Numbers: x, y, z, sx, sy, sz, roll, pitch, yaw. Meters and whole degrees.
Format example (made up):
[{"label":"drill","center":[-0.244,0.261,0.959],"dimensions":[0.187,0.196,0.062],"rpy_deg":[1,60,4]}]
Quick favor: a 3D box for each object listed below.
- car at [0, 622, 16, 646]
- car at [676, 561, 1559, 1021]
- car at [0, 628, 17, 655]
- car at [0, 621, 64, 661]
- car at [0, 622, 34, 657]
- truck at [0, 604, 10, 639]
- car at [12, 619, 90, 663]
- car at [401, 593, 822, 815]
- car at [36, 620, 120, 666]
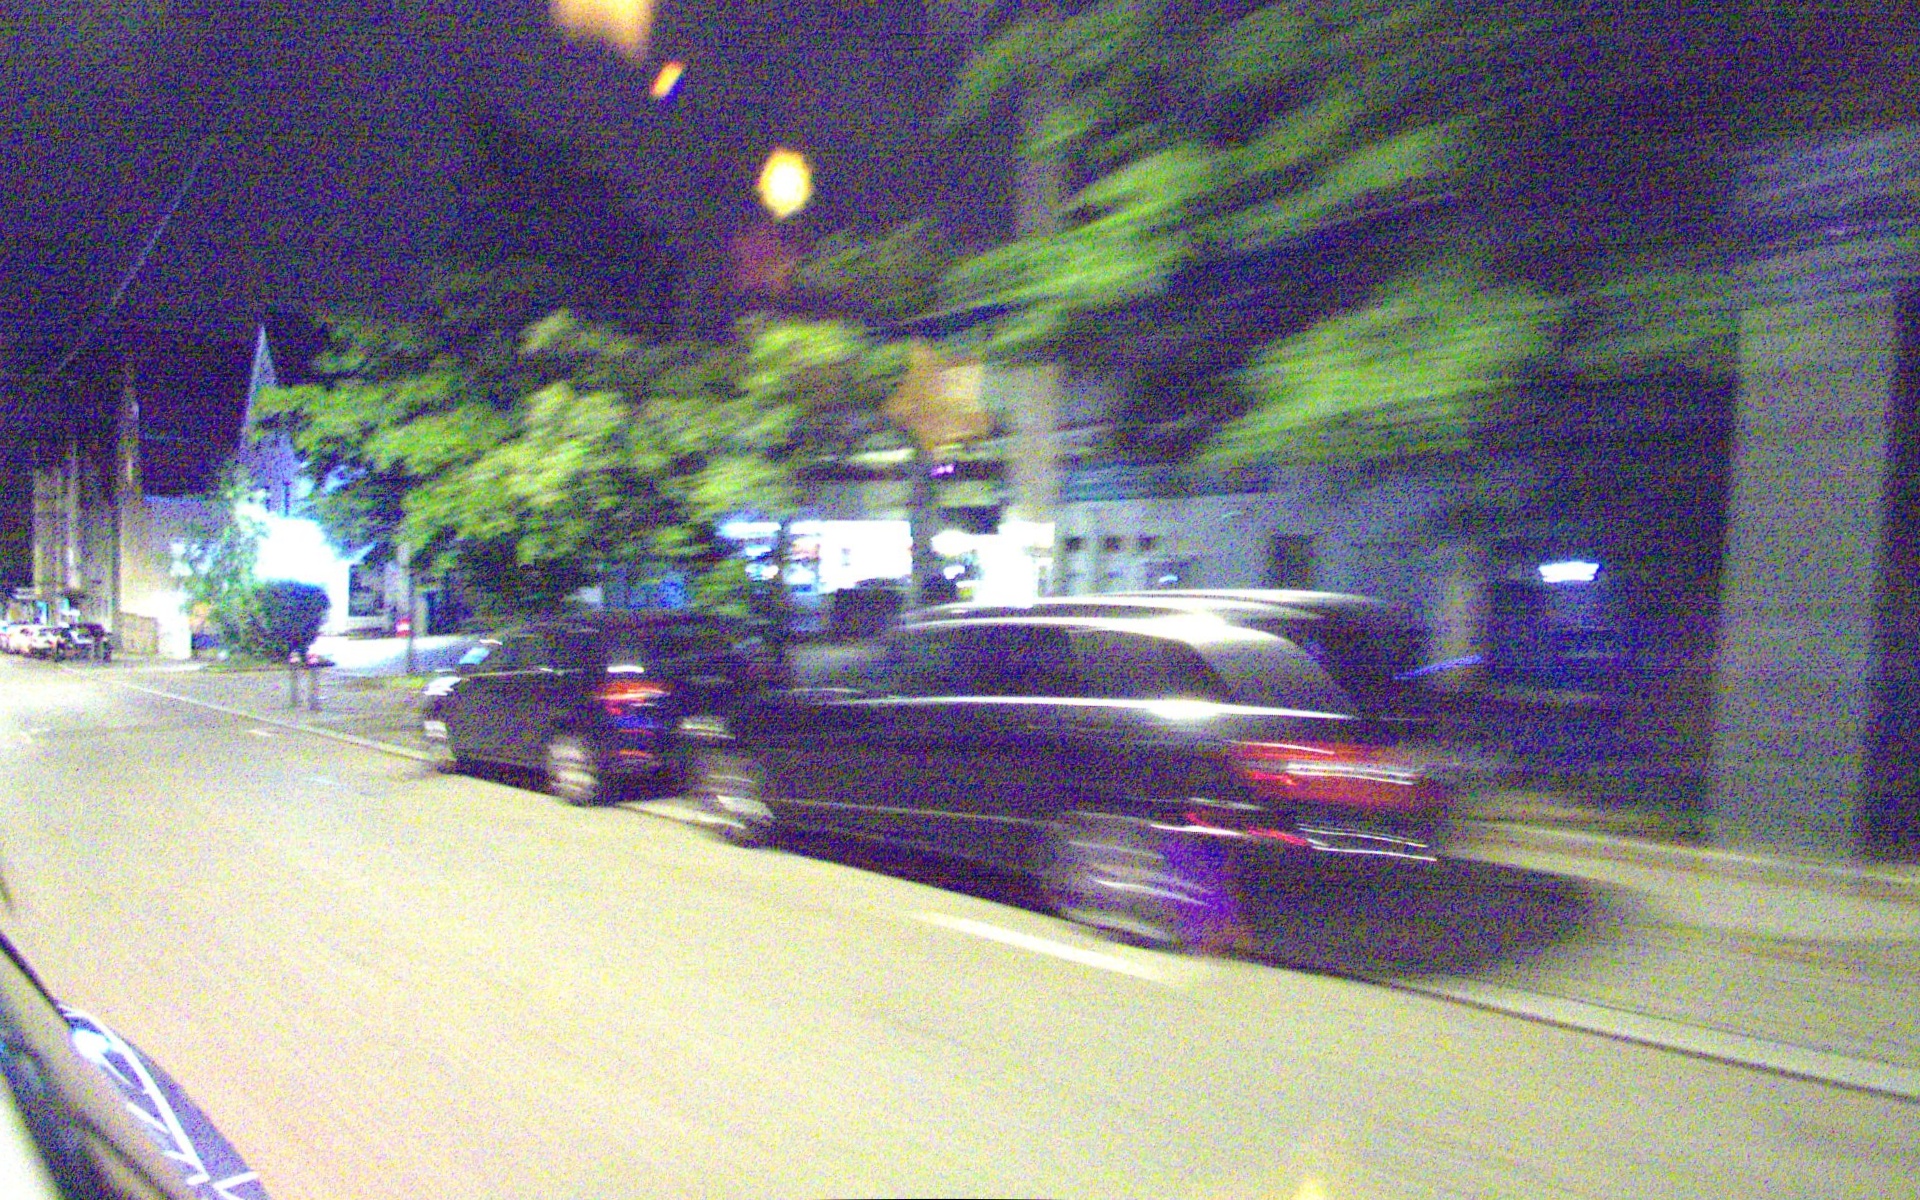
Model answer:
[{"label":"car","center":[-65.916,2.340,69.146],"dimensions":[4.354,1.572,1.848],"rpy_deg":[-2,-1,44]},{"label":"car","center":[0.512,0.666,5.648],"dimensions":[4.587,1.544,1.840],"rpy_deg":[-2,1,42]},{"label":"car","center":[-57.359,2.466,60.025],"dimensions":[4.001,1.572,1.848],"rpy_deg":[-2,-1,44]},{"label":"car","center":[-42.228,1.830,45.846],"dimensions":[3.997,1.657,1.850],"rpy_deg":[-2,-1,40]},{"label":"car","center":[-48.253,1.993,50.988],"dimensions":[3.997,1.657,1.850],"rpy_deg":[-2,-1,40]},{"label":"truck","center":[-73.781,1.678,76.827],"dimensions":[6.875,2.596,2.056],"rpy_deg":[-2,-1,44]},{"label":"car","center":[-37.475,1.667,41.711],"dimensions":[3.997,1.657,1.850],"rpy_deg":[-2,-1,40]},{"label":"car","center":[-3.219,0.750,8.977],"dimensions":[3.896,1.477,1.840],"rpy_deg":[-2,1,42]},{"label":"car","center":[-33.986,1.621,38.961],"dimensions":[3.997,1.657,1.850],"rpy_deg":[-2,-1,40]}]
